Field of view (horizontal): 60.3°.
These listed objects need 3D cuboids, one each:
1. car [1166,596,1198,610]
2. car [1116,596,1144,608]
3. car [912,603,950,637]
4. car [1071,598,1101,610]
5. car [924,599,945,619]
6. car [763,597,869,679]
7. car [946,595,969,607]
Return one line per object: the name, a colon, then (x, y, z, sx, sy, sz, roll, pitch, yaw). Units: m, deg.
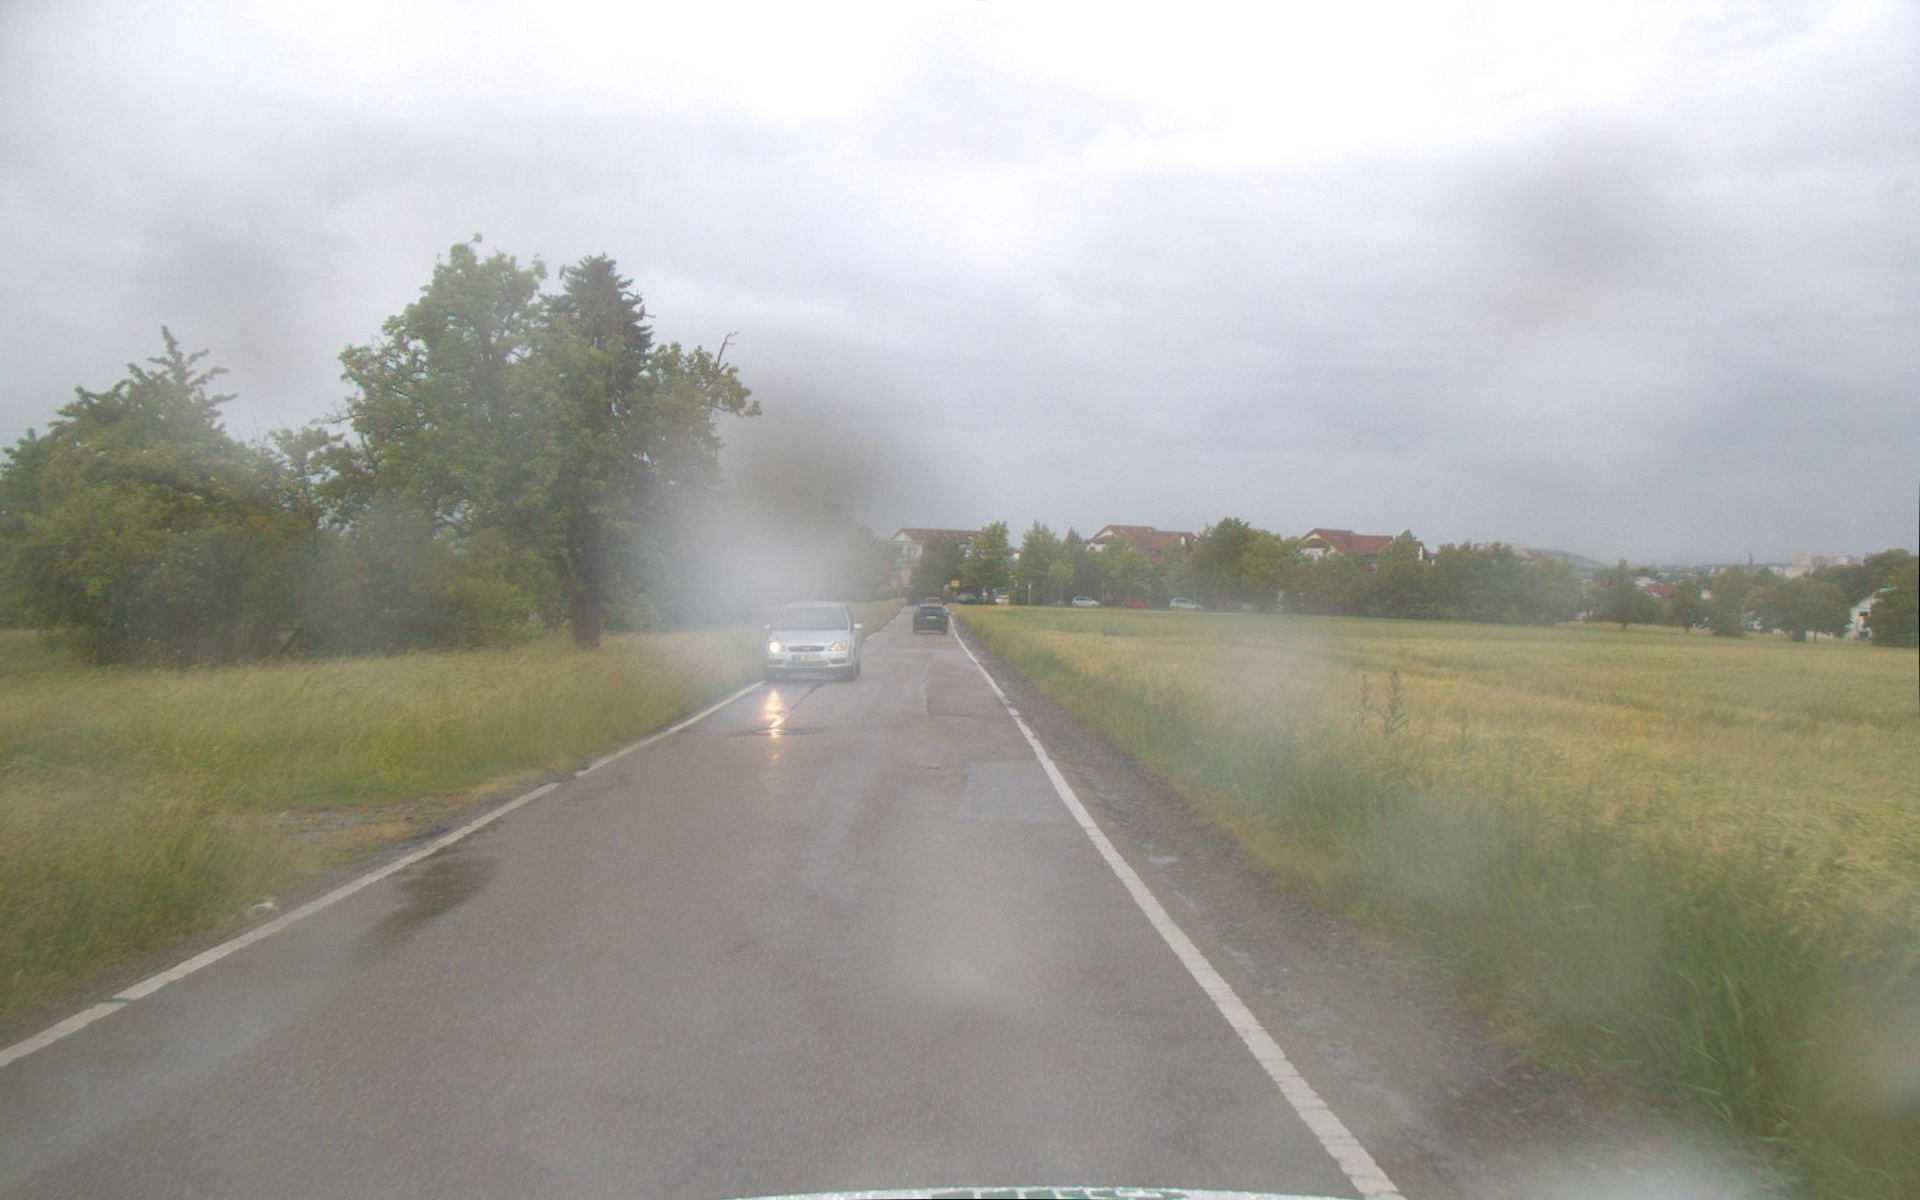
car: (26.145, 0.338, 194.481, 3.630, 1.591, 1.611, 0, -2, 12)
car: (20.116, 0.261, 195.922, 3.124, 1.395, 1.573, 0, -2, 12)
car: (-1.428, 1.008, 82.529, 1.777, 1.622, 3.999, 1, -2, 0)
car: (14.991, 0.492, 196.968, 3.317, 1.395, 1.549, 0, -2, 12)
car: (-2.262, 0.827, 147.064, 1.777, 1.622, 3.999, 1, -2, 0)
car: (-2.782, 0.760, 32.736, 1.704, 1.497, 4.122, 1, -2, 0)
car: (-0.275, 0.106, 224.687, 1.627, 1.574, 3.998, 0, -2, 24)
